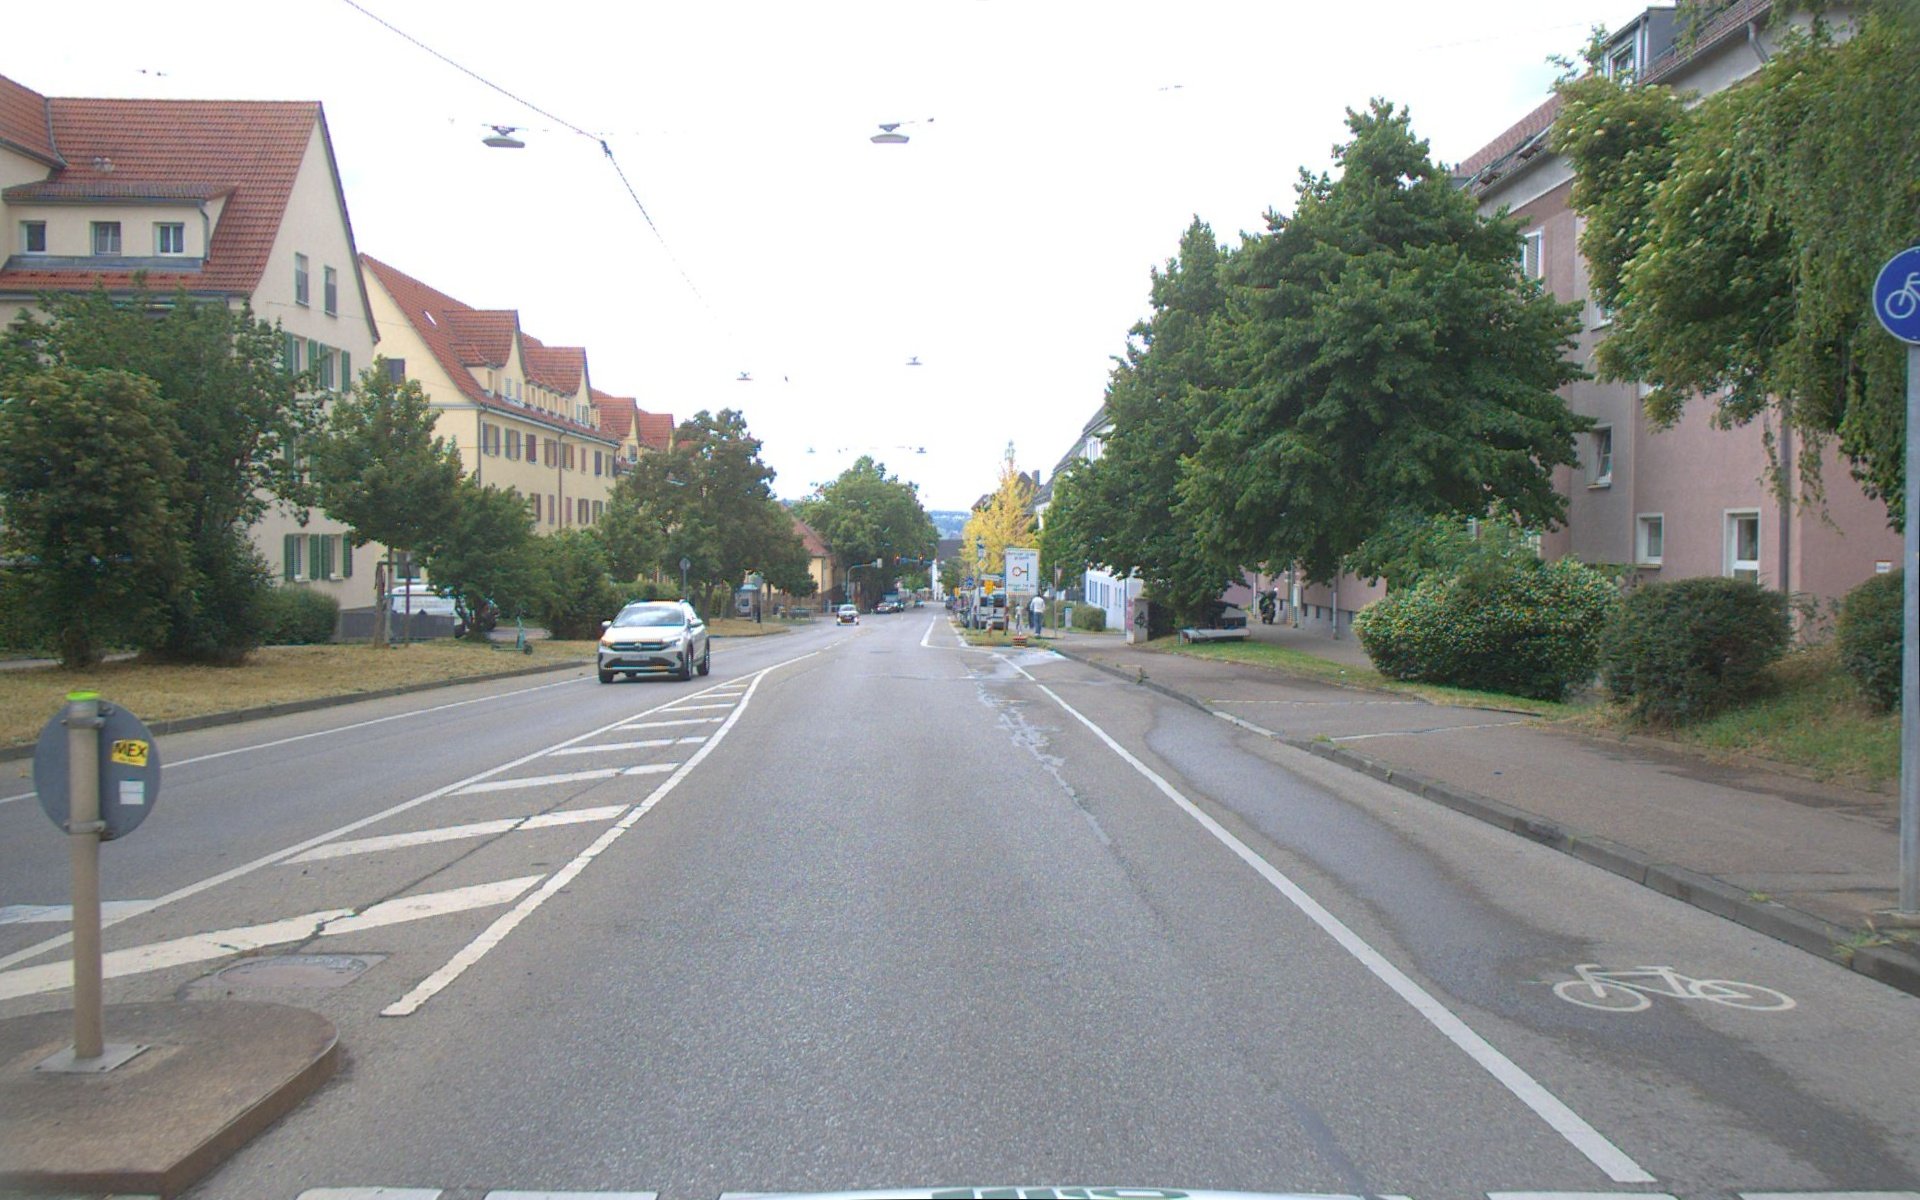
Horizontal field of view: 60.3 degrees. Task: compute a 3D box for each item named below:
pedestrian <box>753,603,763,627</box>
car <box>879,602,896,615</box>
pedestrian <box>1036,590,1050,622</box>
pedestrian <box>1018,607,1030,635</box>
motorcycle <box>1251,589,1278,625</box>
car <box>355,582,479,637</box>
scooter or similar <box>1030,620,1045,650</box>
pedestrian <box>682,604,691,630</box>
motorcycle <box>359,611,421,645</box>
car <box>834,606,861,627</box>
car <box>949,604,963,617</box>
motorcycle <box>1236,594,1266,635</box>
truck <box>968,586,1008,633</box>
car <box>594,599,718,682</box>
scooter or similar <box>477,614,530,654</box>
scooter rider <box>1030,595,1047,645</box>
[{"bbox_3d":[-15.301,1.131,125.425,0.585,1.757,0.861,1,-1,2],"label":"pedestrian"},{"bbox_3d":[-8.919,1.018,203.386,1.719,1.498,4.308,-1,0,2],"label":"car"},{"bbox_3d":[5.024,0.363,100.103,0.658,1.920,0.763,0,-2,-13],"label":"pedestrian"},{"bbox_3d":[3.874,1.282,100.649,0.567,1.673,0.559,0,-2,-15],"label":"pedestrian"},{"bbox_3d":[10.998,0.255,59.748,0.578,1.249,1.967,1,0,-1],"label":"motorcycle"},{"bbox_3d":[-23.180,0.409,70.742,4.621,2.293,1.995,0,-1,-1],"label":"car"},{"bbox_3d":[3.252,1.463,69.315,0.480,1.183,2.074,1,0,-1],"label":"scooter or similar"},{"bbox_3d":[-19.125,1.172,115.644,0.503,1.811,0.753,1,0,-1],"label":"pedestrian"},{"bbox_3d":[-23.108,1.125,67.067,2.550,1.301,1.014,1,0,32],"label":"motorcycle"},{"bbox_3d":[-9.066,1.327,133.374,1.860,1.648,4.361,1,0,0],"label":"car"},{"bbox_3d":[-0.648,1.708,262.162,1.954,1.969,4.915,1,0,-3],"label":"car"},{"bbox_3d":[11.640,0.577,66.151,0.716,1.596,2.550,1,0,0],"label":"motorcycle"},{"bbox_3d":[1.551,0.535,94.893,2.011,2.610,5.687,1,0,-2],"label":"truck"},{"bbox_3d":[-5.887,0.747,32.467,1.765,1.489,4.028,-1,0,-2],"label":"car"},{"bbox_3d":[-12.629,0.937,45.820,1.343,1.105,0.466,0,0,-6],"label":"scooter or similar"},{"bbox_3d":[3.289,0.829,69.290,0.613,2.049,0.757,1,0,-2],"label":"scooter rider"}]
